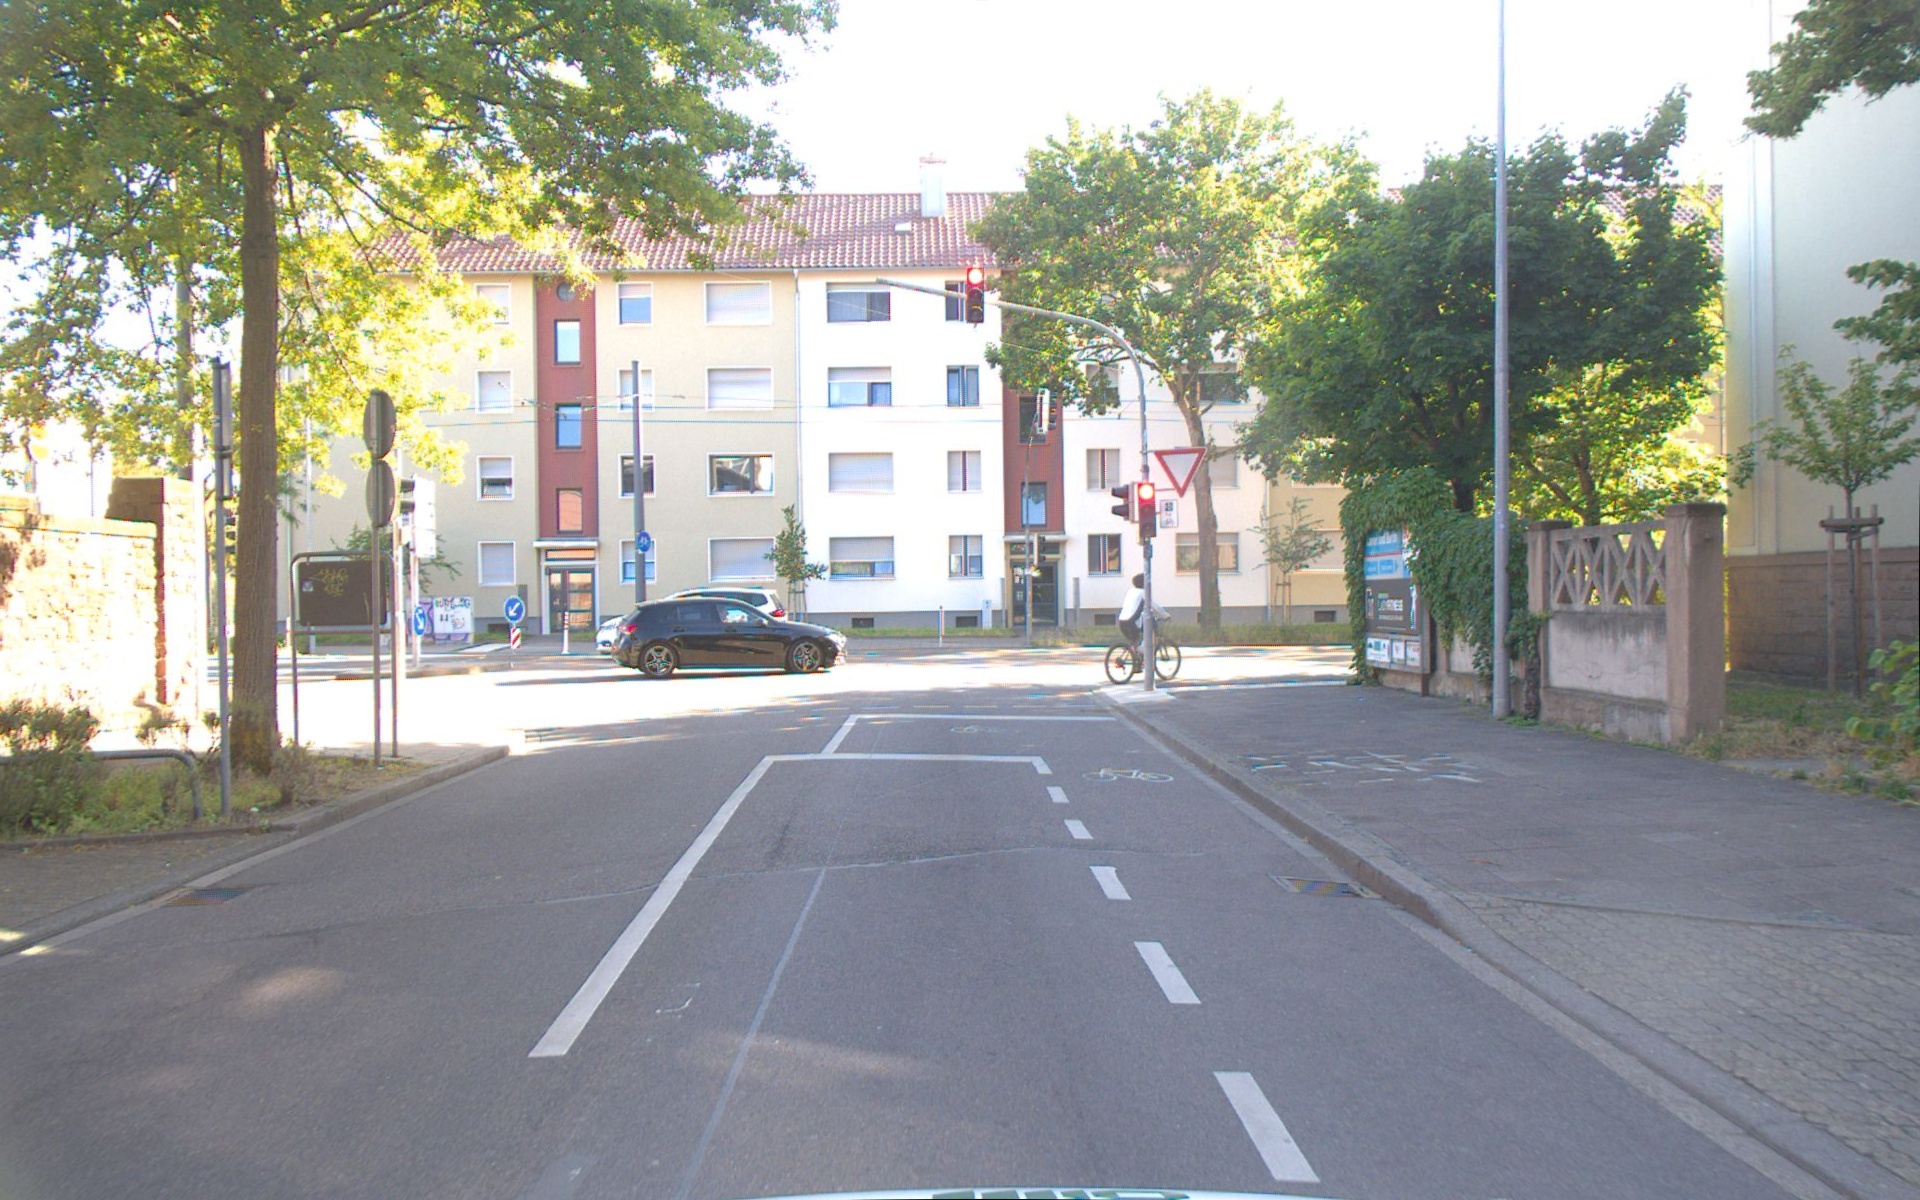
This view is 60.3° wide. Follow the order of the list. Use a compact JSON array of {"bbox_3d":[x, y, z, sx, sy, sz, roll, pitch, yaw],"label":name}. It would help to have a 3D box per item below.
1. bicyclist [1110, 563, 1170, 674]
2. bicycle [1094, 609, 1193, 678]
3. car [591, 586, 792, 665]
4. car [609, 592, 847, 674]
[{"bbox_3d":[2.970,0.296,27.281,0.776,1.788,0.608,-1,0,-24],"label":"bicyclist"},{"bbox_3d":[3.034,0.705,27.261,1.660,1.099,0.349,-1,0,-23],"label":"bicycle"},{"bbox_3d":[-6.354,0.588,39.258,4.577,1.770,1.995,-1,0,-10],"label":"car"},{"bbox_3d":[-4.325,0.584,30.764,4.129,1.446,1.843,0,0,-19],"label":"car"}]
